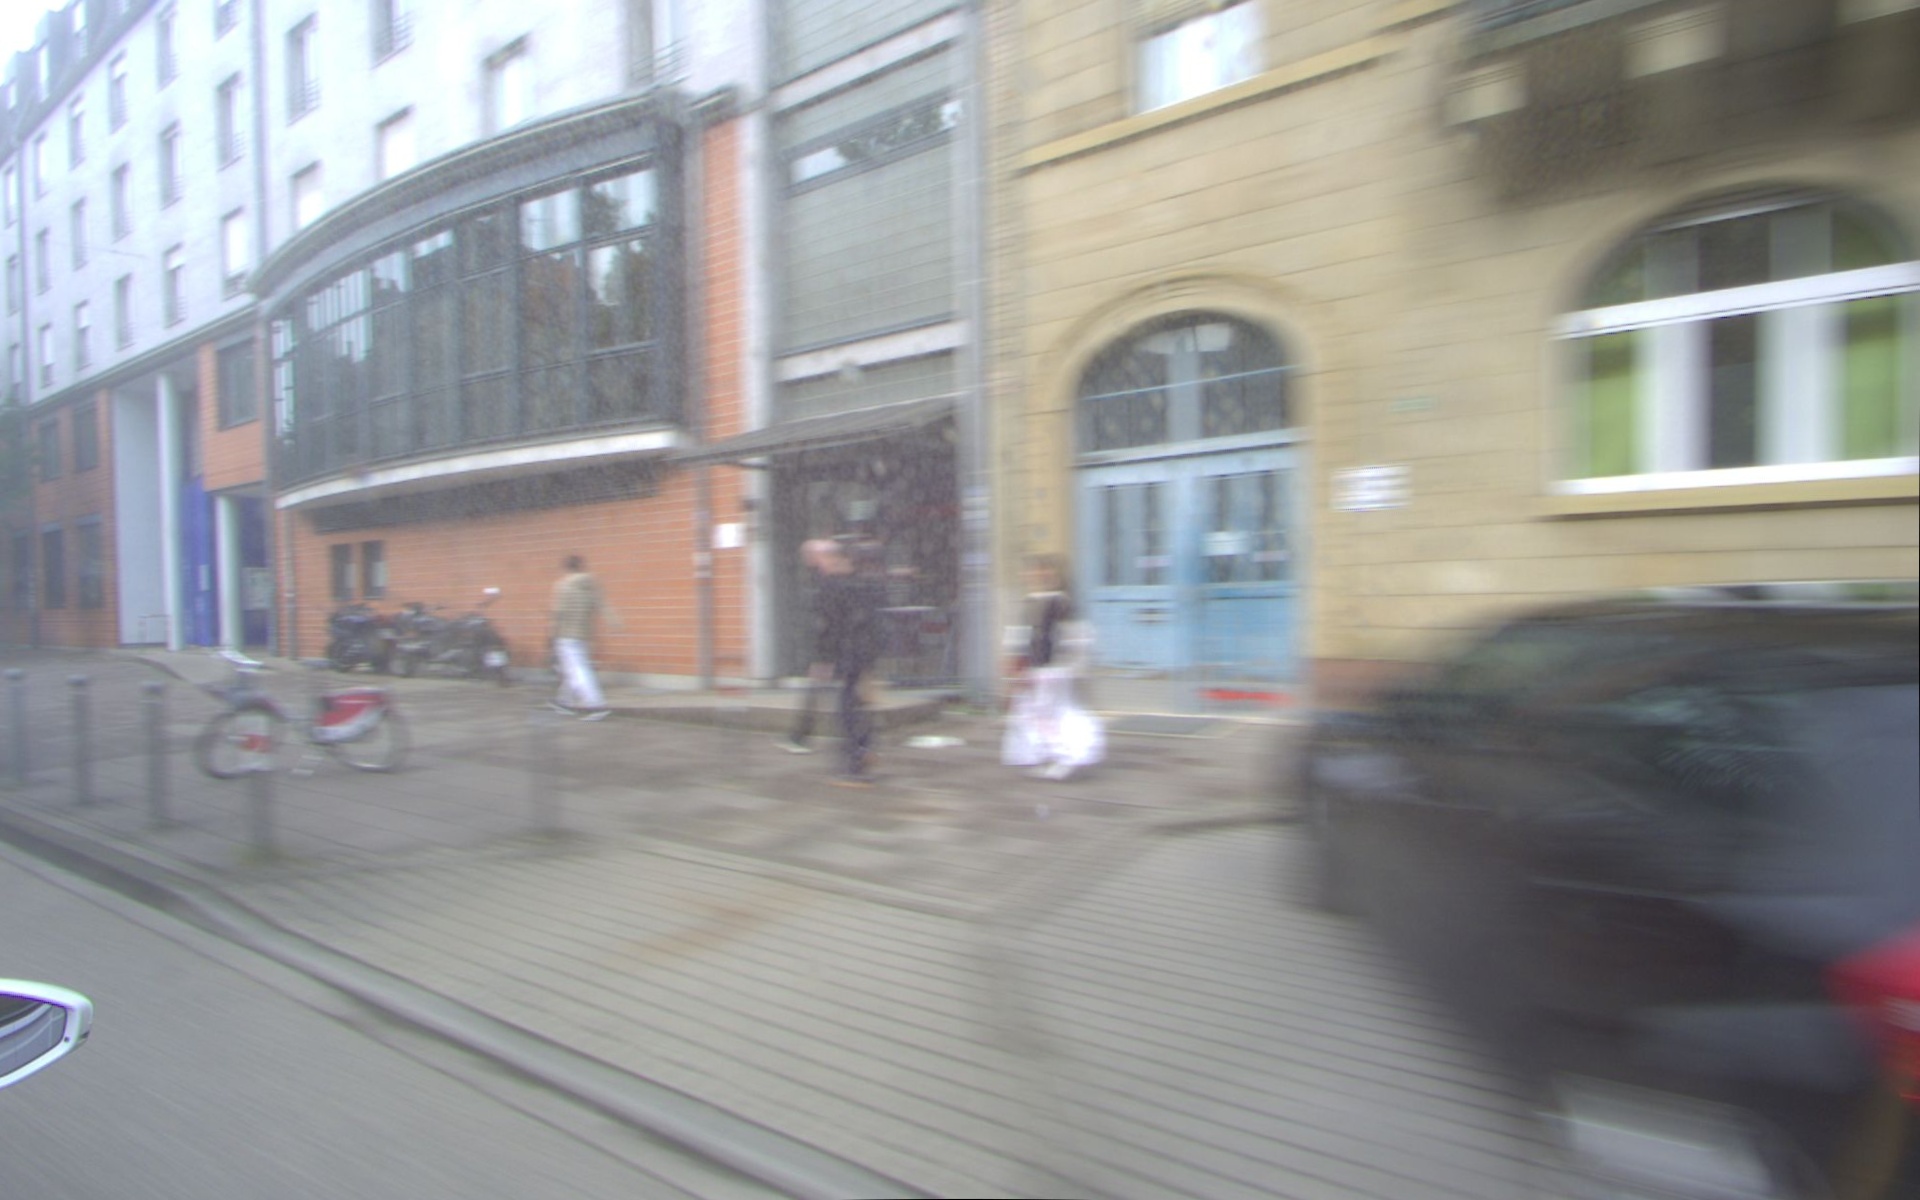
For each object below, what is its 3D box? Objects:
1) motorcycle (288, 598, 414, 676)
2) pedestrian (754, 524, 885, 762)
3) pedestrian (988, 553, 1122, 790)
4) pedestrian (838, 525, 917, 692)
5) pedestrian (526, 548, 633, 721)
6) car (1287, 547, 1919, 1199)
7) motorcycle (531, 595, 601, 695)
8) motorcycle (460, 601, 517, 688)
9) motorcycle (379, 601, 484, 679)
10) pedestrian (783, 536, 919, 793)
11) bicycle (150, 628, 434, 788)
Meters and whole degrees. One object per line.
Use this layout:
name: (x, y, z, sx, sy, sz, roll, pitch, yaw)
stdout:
motorcycle: (-10.470, 0.600, 17.202, 2.179, 1.219, 1.024, 0, 2, 35)
pedestrian: (-1.133, 0.329, 8.123, 0.706, 1.823, 0.665, -1, 2, 32)
pedestrian: (0.655, 0.462, 6.857, 0.706, 1.531, 0.517, -1, 2, 32)
pedestrian: (-0.871, 0.091, 10.633, 0.620, 1.711, 0.506, -1, 0, 35)
pedestrian: (-4.090, 0.350, 10.771, 0.800, 1.778, 0.628, 0, 4, 32)
car: (2.118, 0.628, 2.995, 1.653, 1.499, 4.253, 0, 4, 11)
motorcycle: (-5.373, 0.574, 13.621, 0.594, 1.210, 1.556, -3, 4, -31)
motorcycle: (-6.913, 0.607, 14.645, 0.594, 1.159, 1.872, -2, 2, -29)
motorcycle: (-8.444, 0.620, 15.975, 2.043, 1.159, 0.599, -1, 2, 36)
pedestrian: (-0.753, 0.424, 6.962, 0.706, 1.685, 0.517, -1, 2, 32)
bicycle: (-5.298, 0.831, 8.043, 1.703, 1.119, 0.729, -2, 2, -6)
